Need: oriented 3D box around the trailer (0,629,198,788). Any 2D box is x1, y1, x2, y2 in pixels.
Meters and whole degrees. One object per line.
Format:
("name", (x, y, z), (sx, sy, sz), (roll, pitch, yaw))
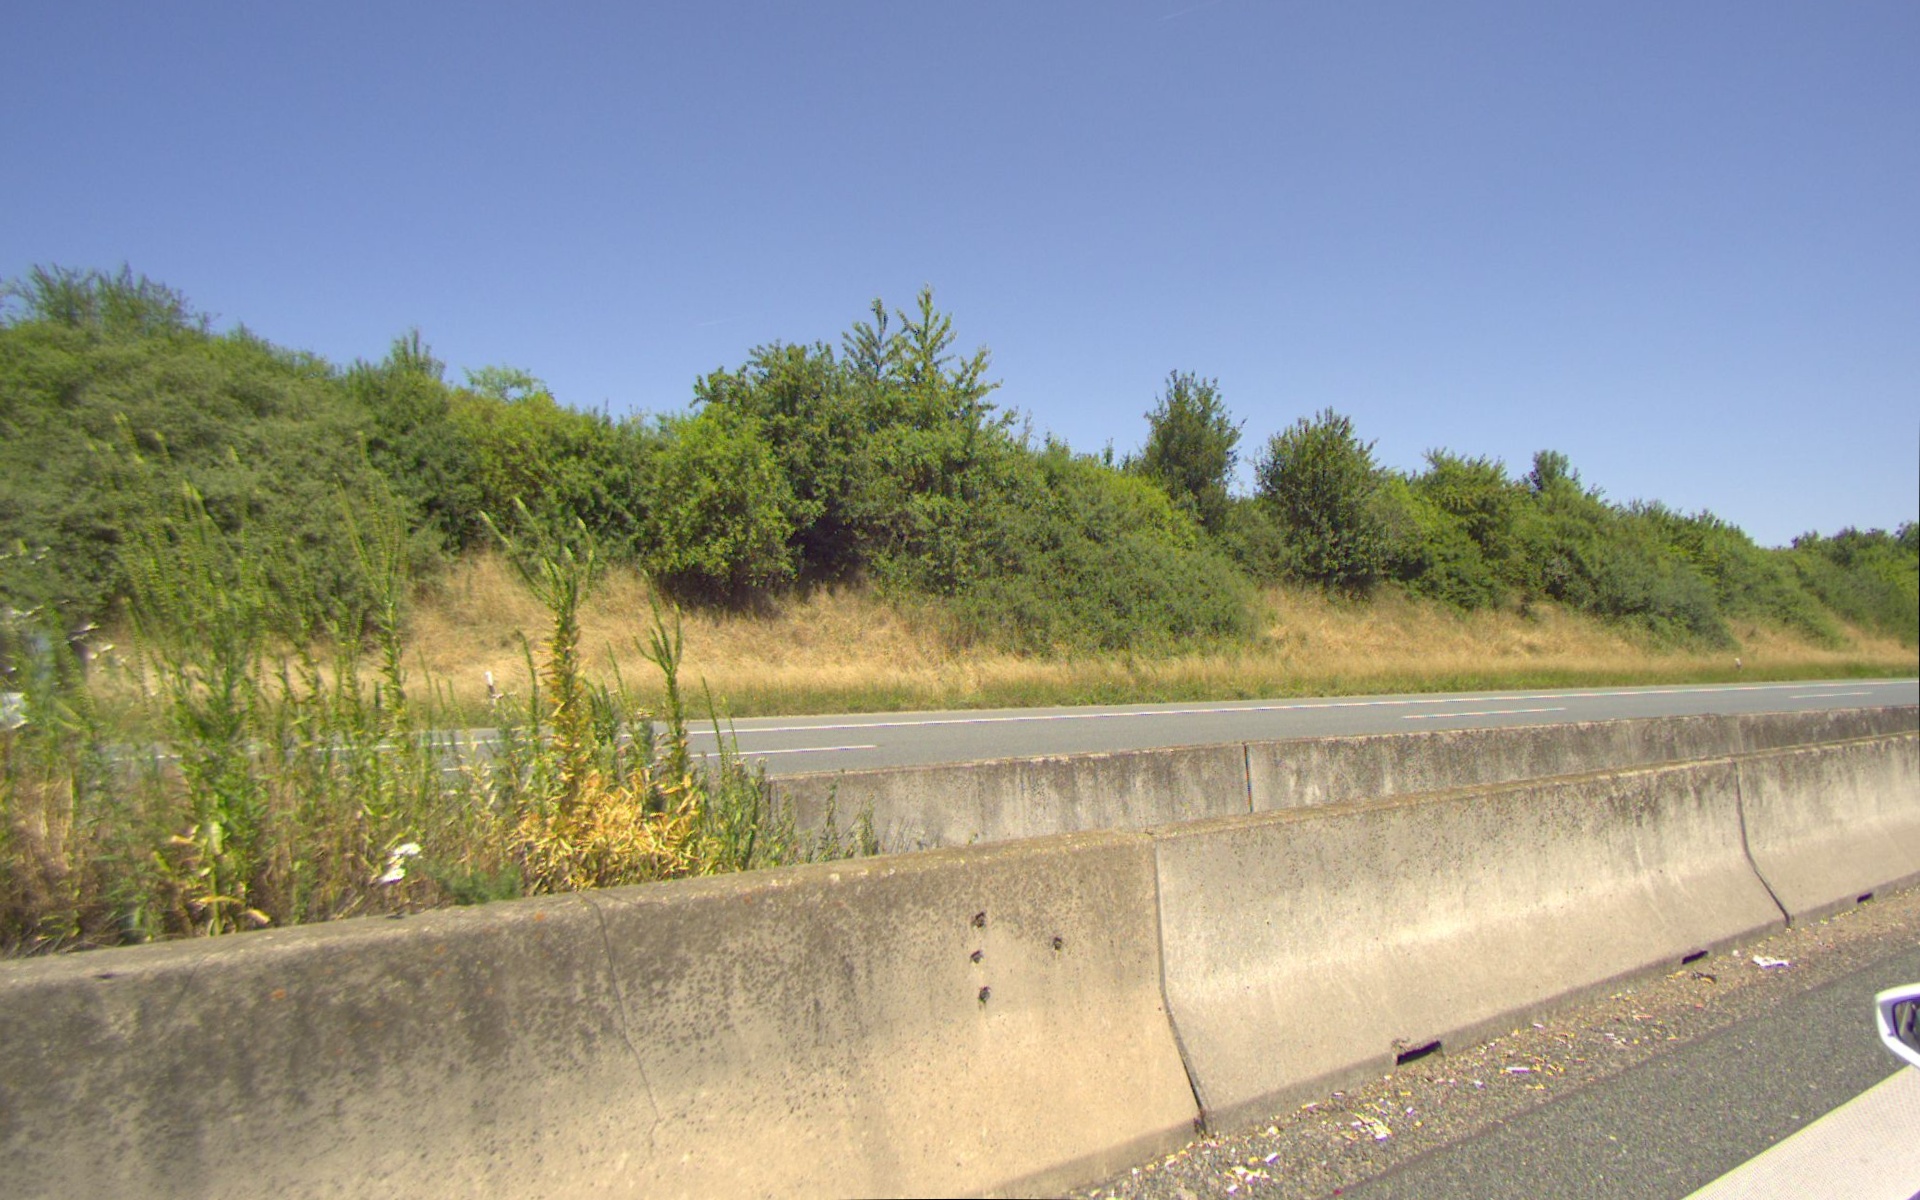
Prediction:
("trailer", (-10.340, 1.102, 10.369), (3.735, 1.572, 1.561), (1, -3, -31))
